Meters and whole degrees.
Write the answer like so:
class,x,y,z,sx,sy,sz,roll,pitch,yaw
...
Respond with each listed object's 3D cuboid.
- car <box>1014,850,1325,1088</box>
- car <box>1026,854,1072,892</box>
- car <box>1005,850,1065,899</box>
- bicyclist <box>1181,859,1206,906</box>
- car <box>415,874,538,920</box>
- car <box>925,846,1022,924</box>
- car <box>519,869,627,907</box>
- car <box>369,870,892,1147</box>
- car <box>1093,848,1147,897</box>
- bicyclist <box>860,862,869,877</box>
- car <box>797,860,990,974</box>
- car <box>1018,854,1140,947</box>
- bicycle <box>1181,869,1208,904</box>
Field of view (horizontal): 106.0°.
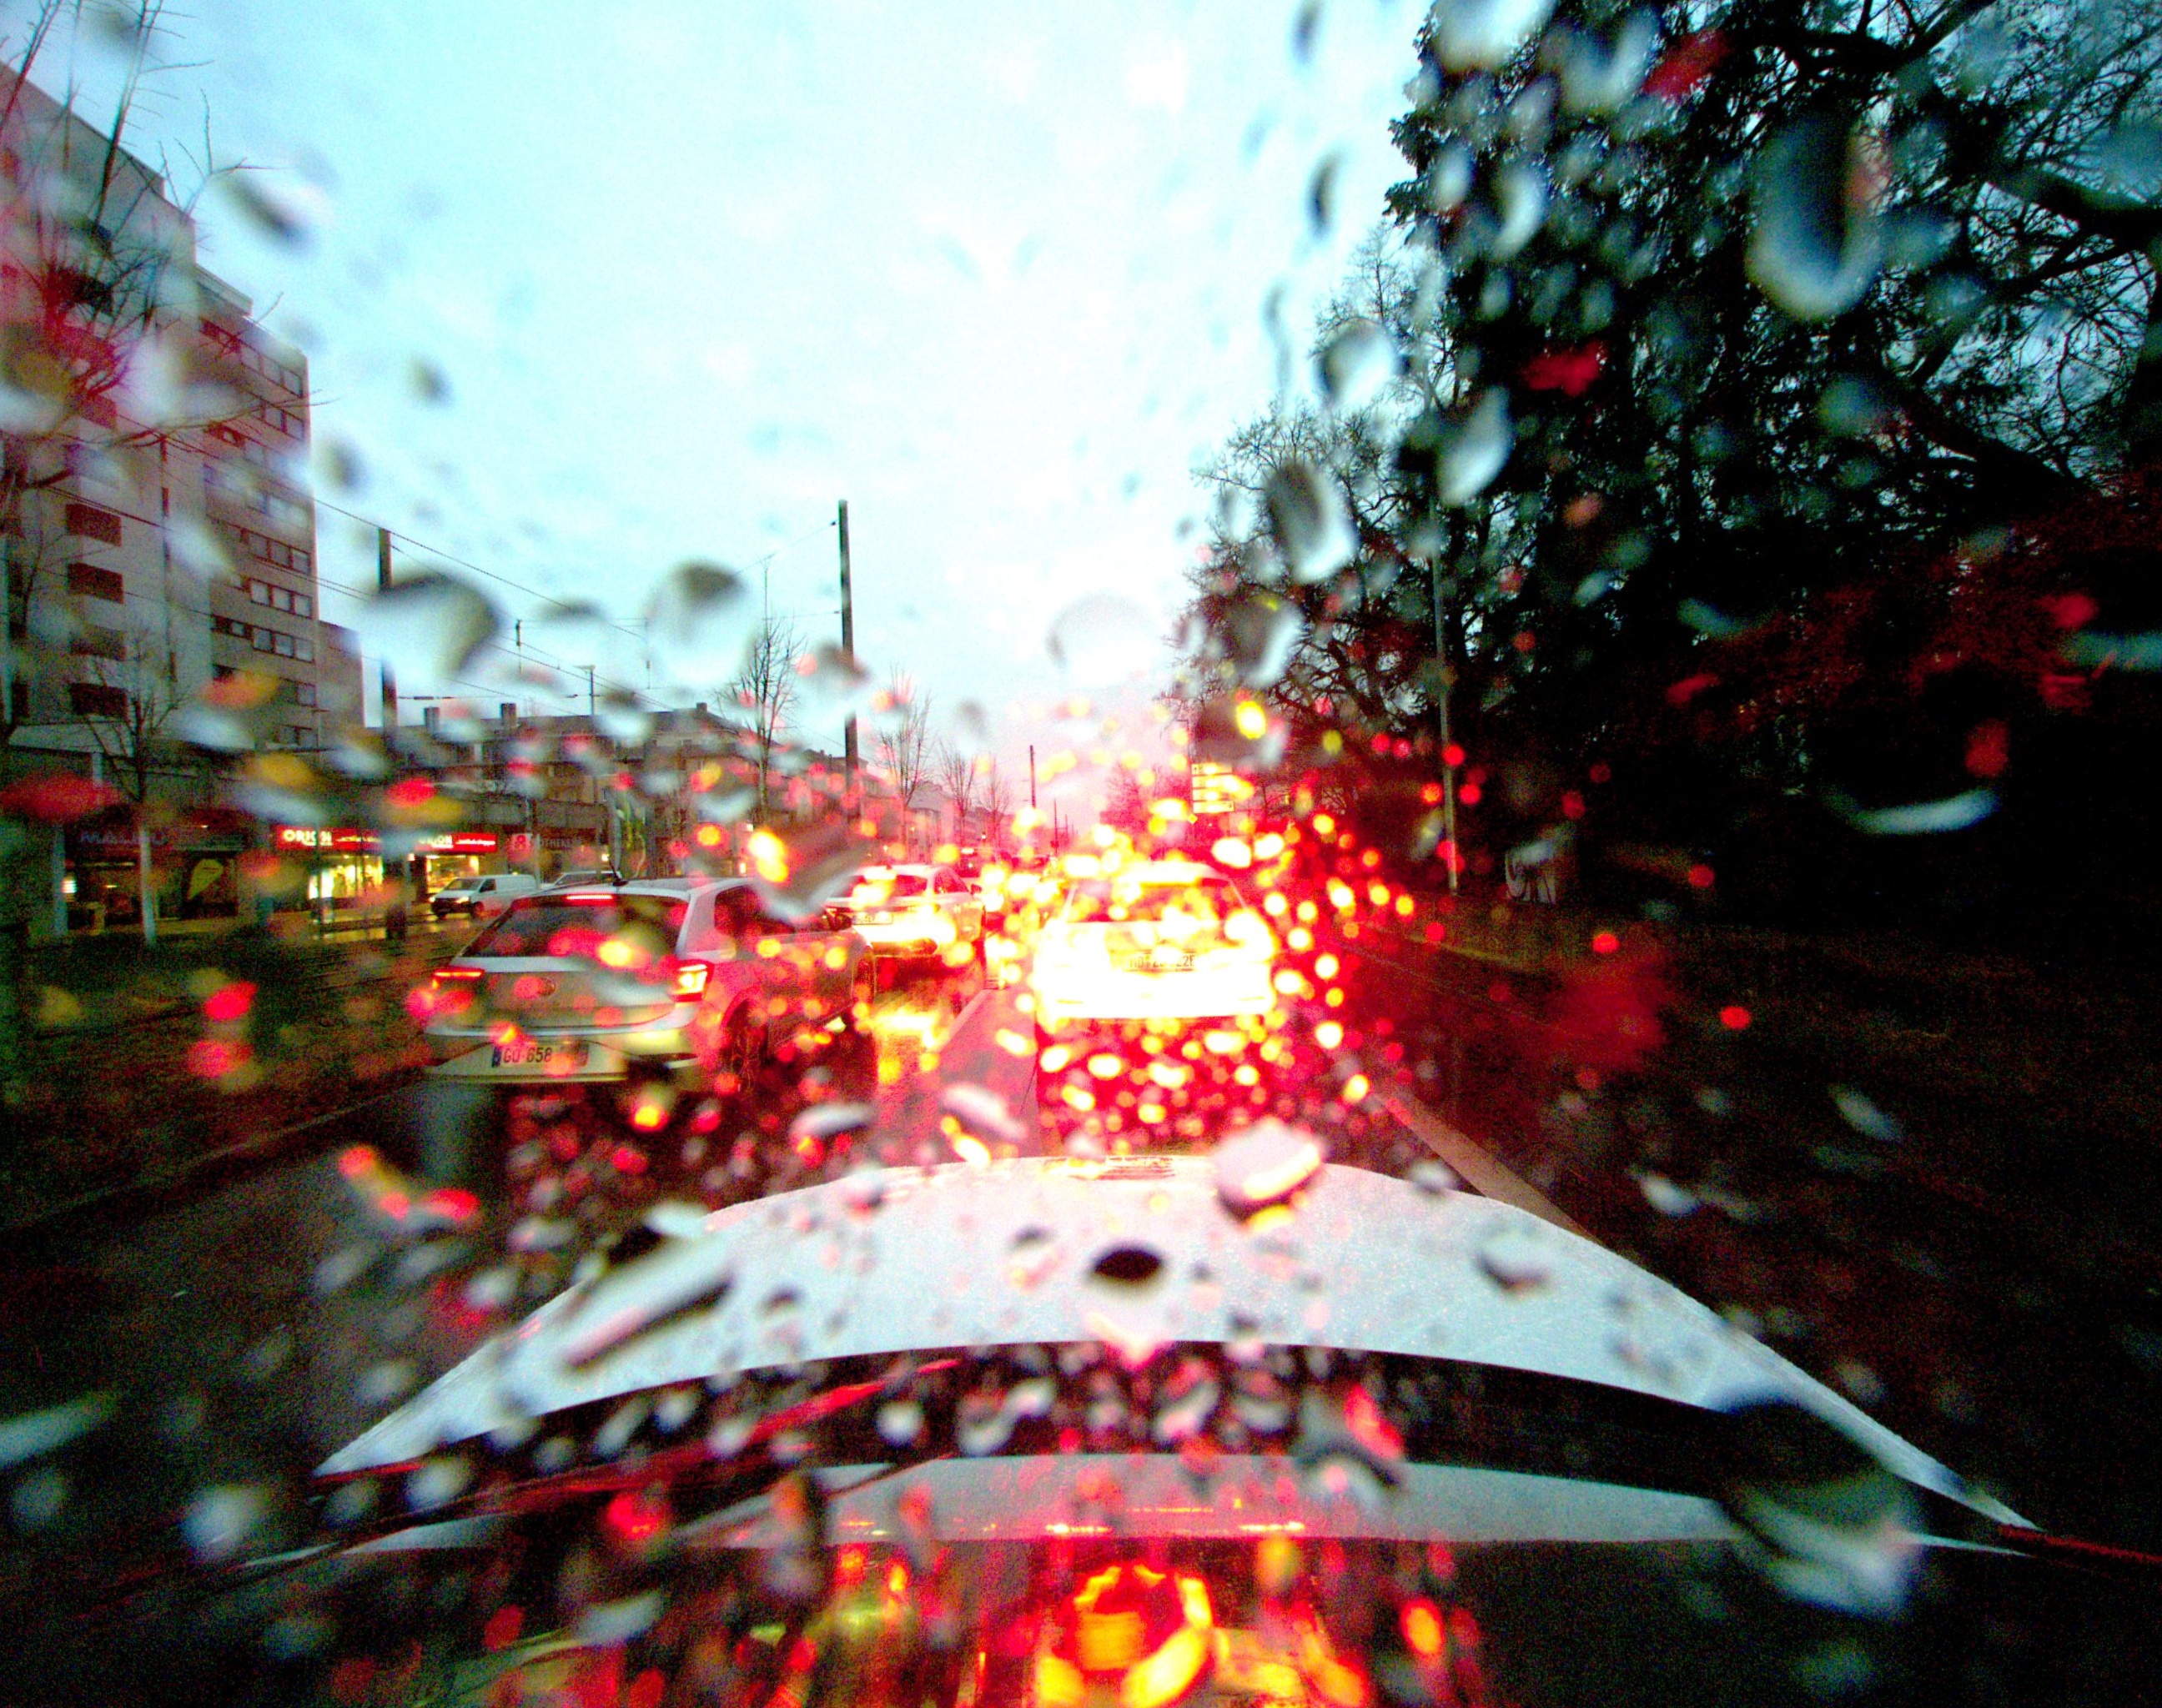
class,x,y,z,sx,sy,sz,roll,pitch,yaw
car,0.643,0.752,7.406,1.992,1.508,4.165,-1,0,2
car,-1.456,0.840,38.429,1.800,1.646,4.002,-1,0,2
car,-1.616,0.690,29.981,1.800,1.646,4.002,-1,0,2
bicyclist,3.476,0.861,25.194,0.642,1.389,0.891,-2,0,4
car,-29.705,2.073,40.301,1.985,1.912,5.167,-3,0,3
car,-2.578,0.708,20.575,1.787,1.736,4.537,-1,0,0
car,-30.720,2.016,49.373,5.193,1.912,1.975,-3,0,-44
car,-2.840,0.854,6.284,1.756,1.371,3.981,-1,0,1
car,1.412,0.624,29.907,1.800,1.646,4.002,-1,0,2
bicyclist,-23.929,1.733,89.857,0.794,1.579,0.631,-1,-1,-37
car,-2.646,0.823,12.672,1.840,1.405,4.614,-1,0,1
car,0.029,0.748,15.233,1.928,1.457,4.165,-1,0,2
bicycle,3.485,0.986,25.174,0.642,0.966,2.049,-2,0,4
